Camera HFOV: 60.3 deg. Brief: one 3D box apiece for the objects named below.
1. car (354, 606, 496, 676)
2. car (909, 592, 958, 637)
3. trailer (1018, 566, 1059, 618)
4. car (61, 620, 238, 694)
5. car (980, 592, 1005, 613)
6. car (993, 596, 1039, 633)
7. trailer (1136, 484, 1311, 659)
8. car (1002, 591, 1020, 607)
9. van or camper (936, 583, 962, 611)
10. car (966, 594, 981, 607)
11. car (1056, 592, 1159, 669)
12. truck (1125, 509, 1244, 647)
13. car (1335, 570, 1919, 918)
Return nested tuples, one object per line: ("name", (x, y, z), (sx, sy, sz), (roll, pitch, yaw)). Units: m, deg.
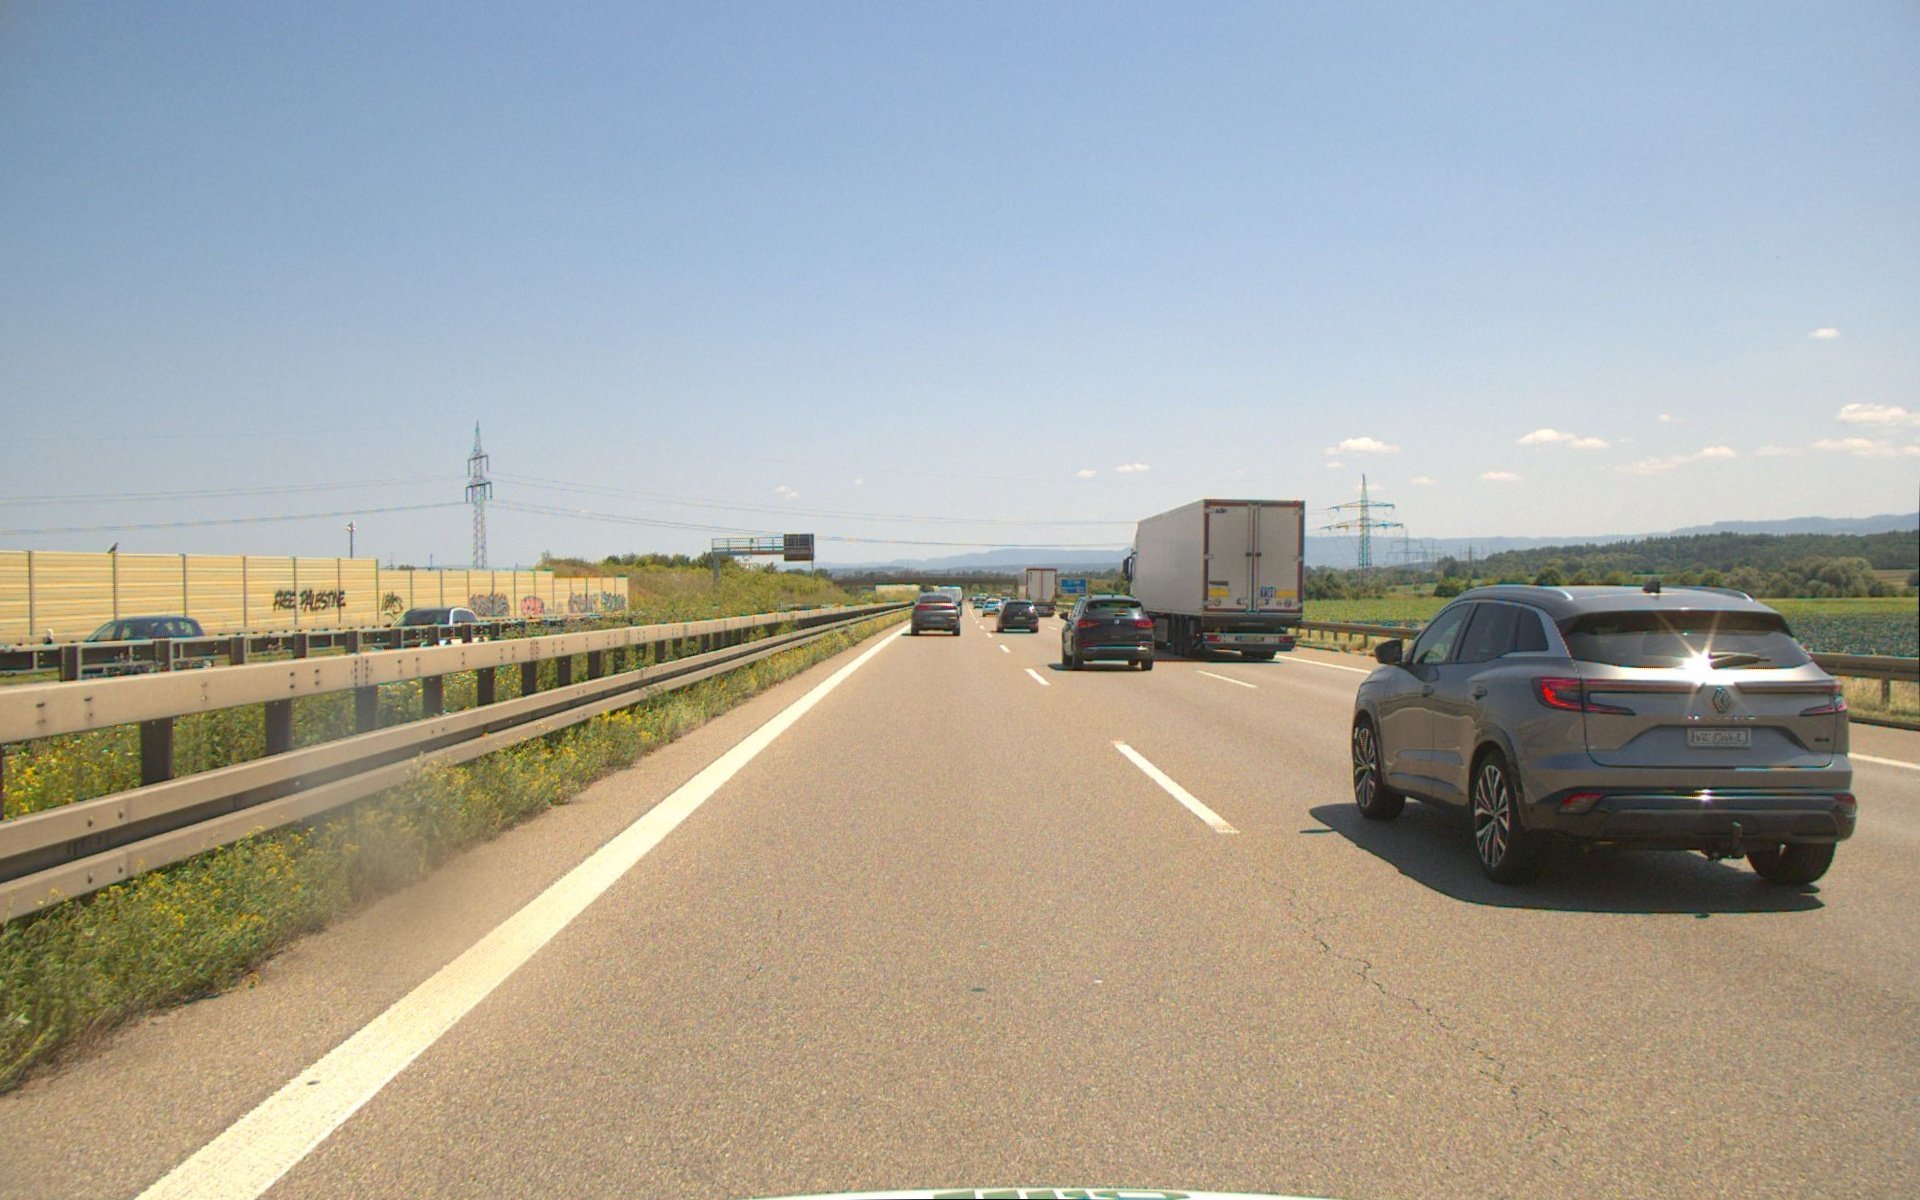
("car", (-13.635, 0.990, 42.528), (1.953, 1.622, 5.305), (-2, 0, -1))
("car", (-1.093, 0.570, 66.127), (1.814, 1.693, 3.733), (1, 0, -3))
("trailer", (6.746, -0.648, 143.549), (2.883, 4.271, 13.596), (1, 0, 0))
("car", (-17.531, 1.192, 36.031), (1.683, 1.434, 4.483), (1, 0, -1))
("car", (2.678, 0.224, 136.986), (1.952, 1.712, 4.000), (1, 0, 0))
("car", (2.508, 0.651, 74.789), (1.894, 1.602, 4.934), (1, 0, 0))
("trailer", (7.225, -0.684, 47.595), (2.809, 4.294, 13.293), (1, 0, 0))
("car", (5.785, -0.112, 186.882), (1.952, 1.712, 4.000), (1, 0, 0))
("van or camper", (-0.866, -0.242, 136.990), (2.067, 2.250, 5.265), (1, 0, 0))
("car", (1.822, 0.035, 222.394), (1.952, 1.712, 4.000), (1, 0, 0))
("car", (3.227, 0.645, 36.809), (1.761, 1.589, 3.821), (1, 0, -3))
("truck", (7.168, -0.653, 53.731), (2.804, 4.163, 6.878), (1, 0, -1))
("car", (3.791, 0.691, 10.335), (1.813, 1.677, 4.644), (0, 0, -1))
